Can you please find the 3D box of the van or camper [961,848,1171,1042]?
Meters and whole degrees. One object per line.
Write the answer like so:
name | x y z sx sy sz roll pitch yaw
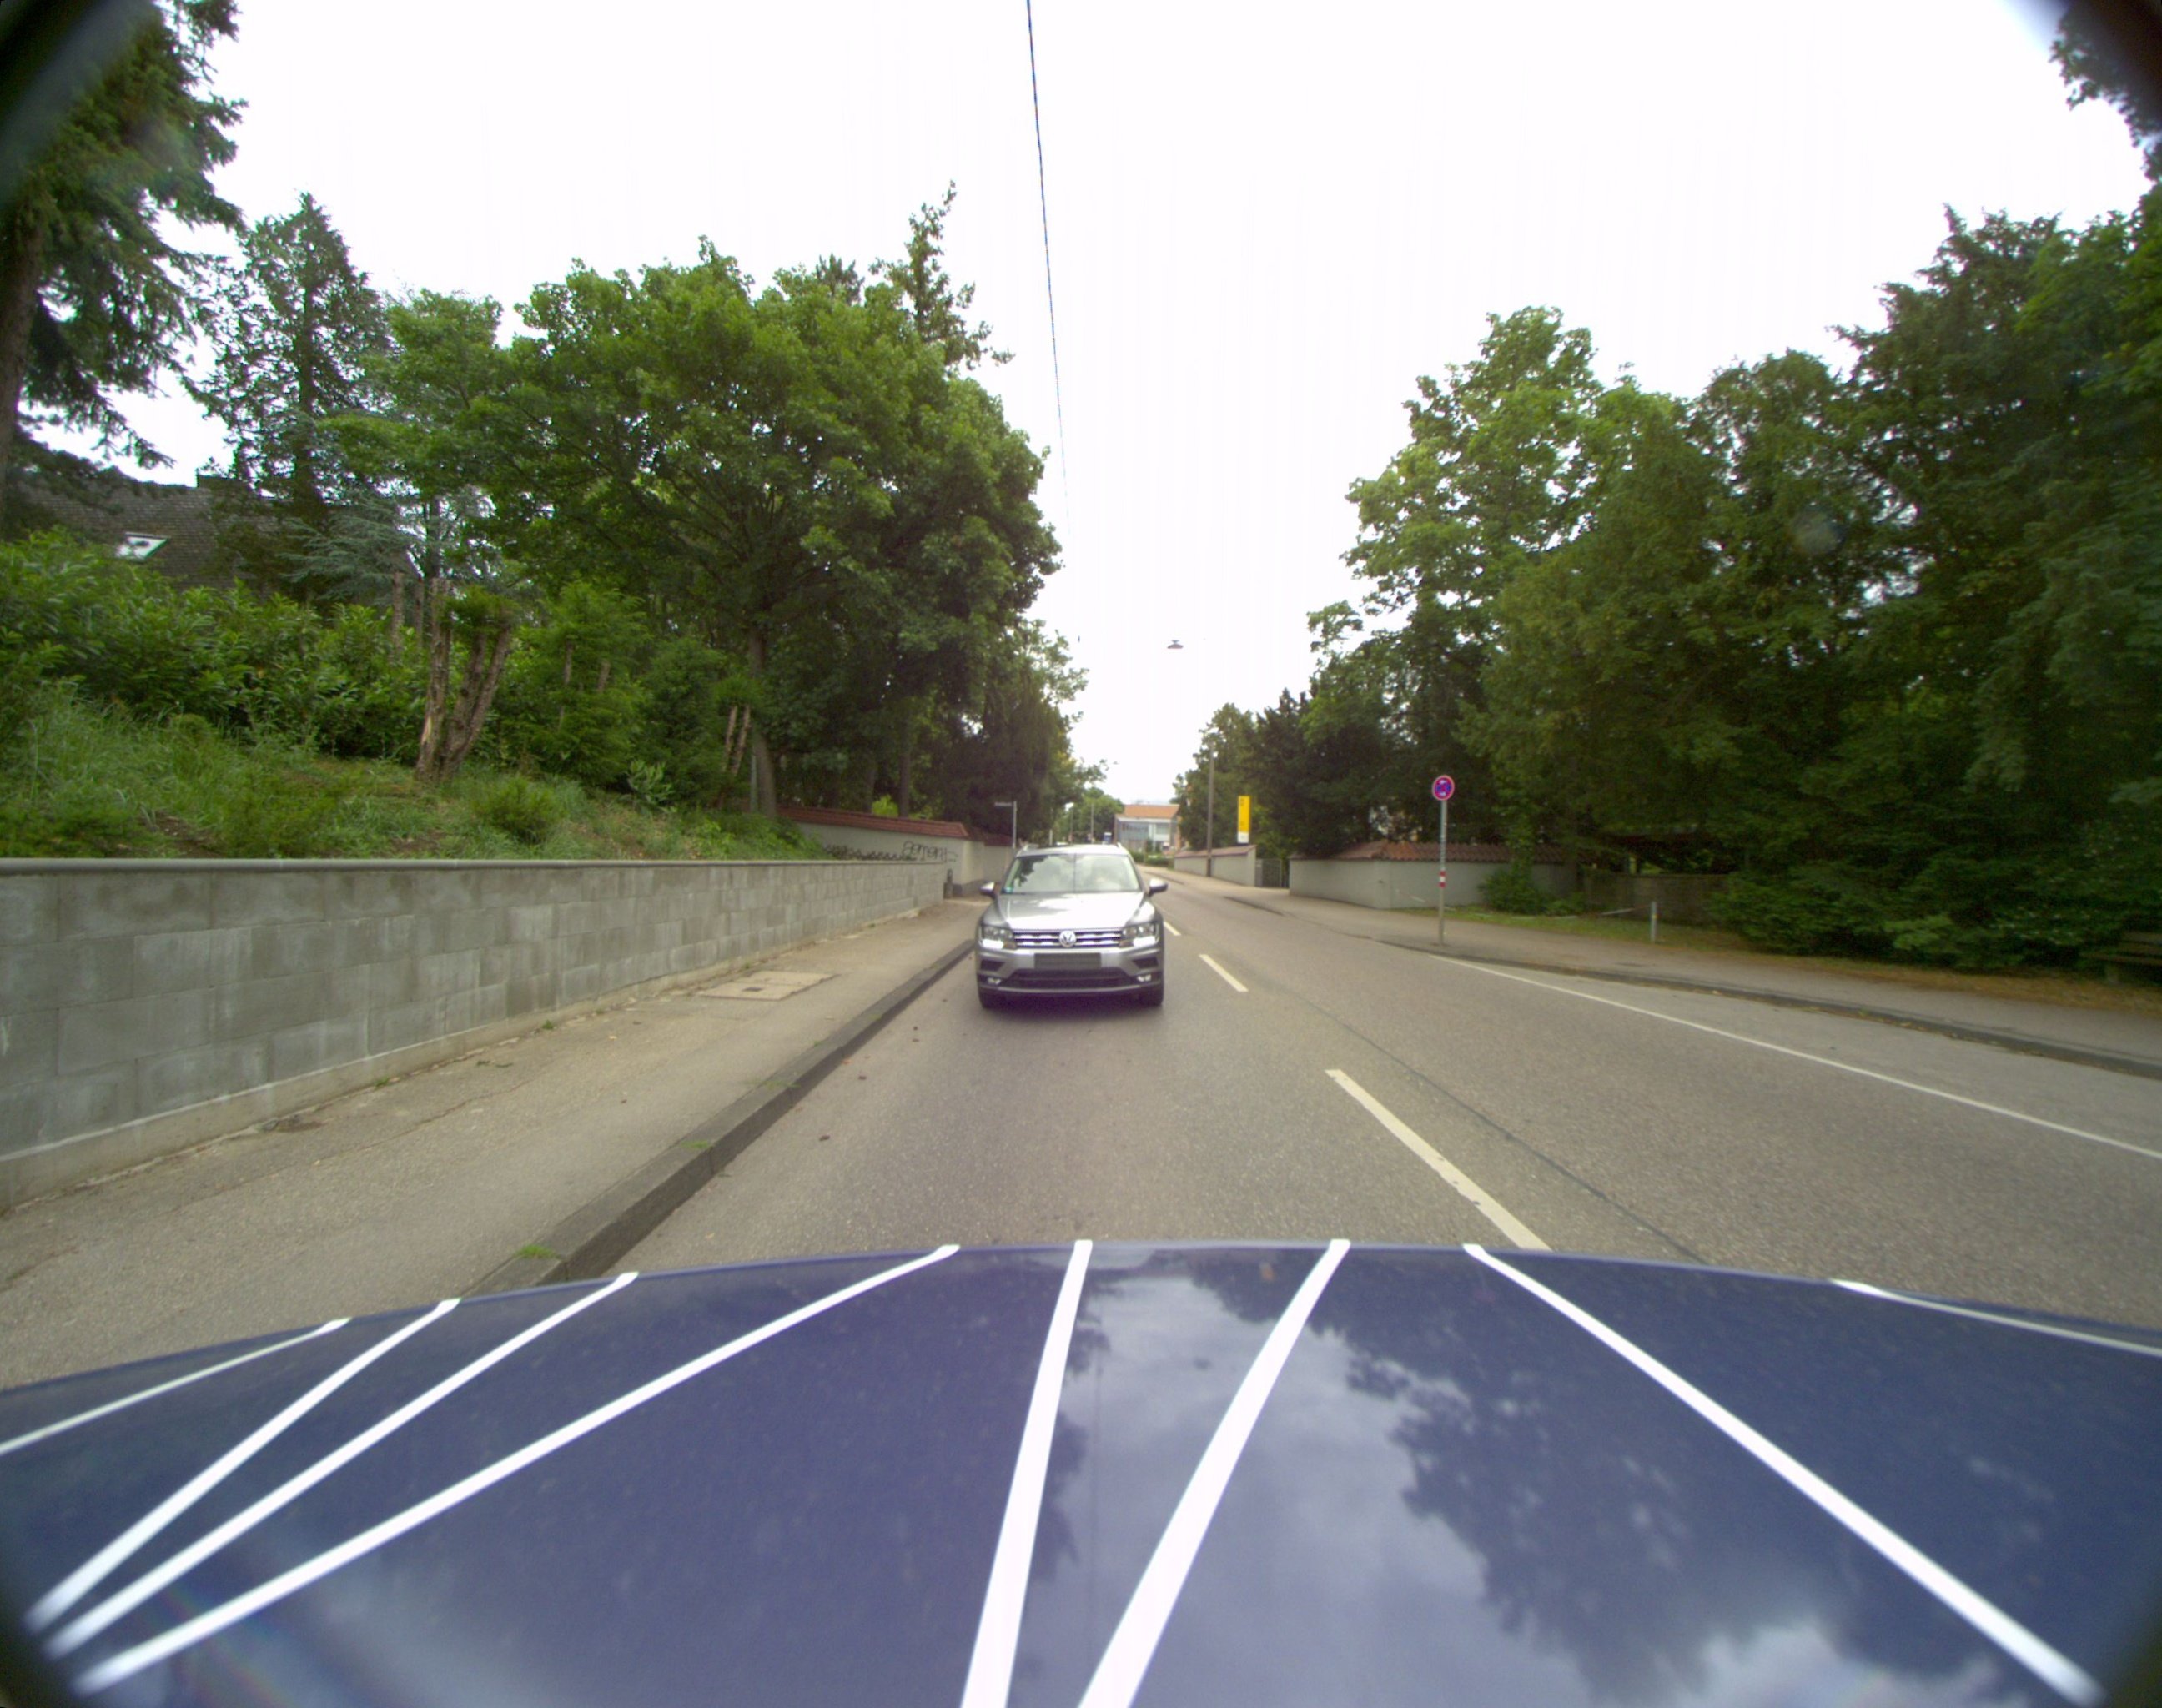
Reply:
van or camper | -0.101 0.773 8.643 1.800 1.663 4.198 0 0 1
